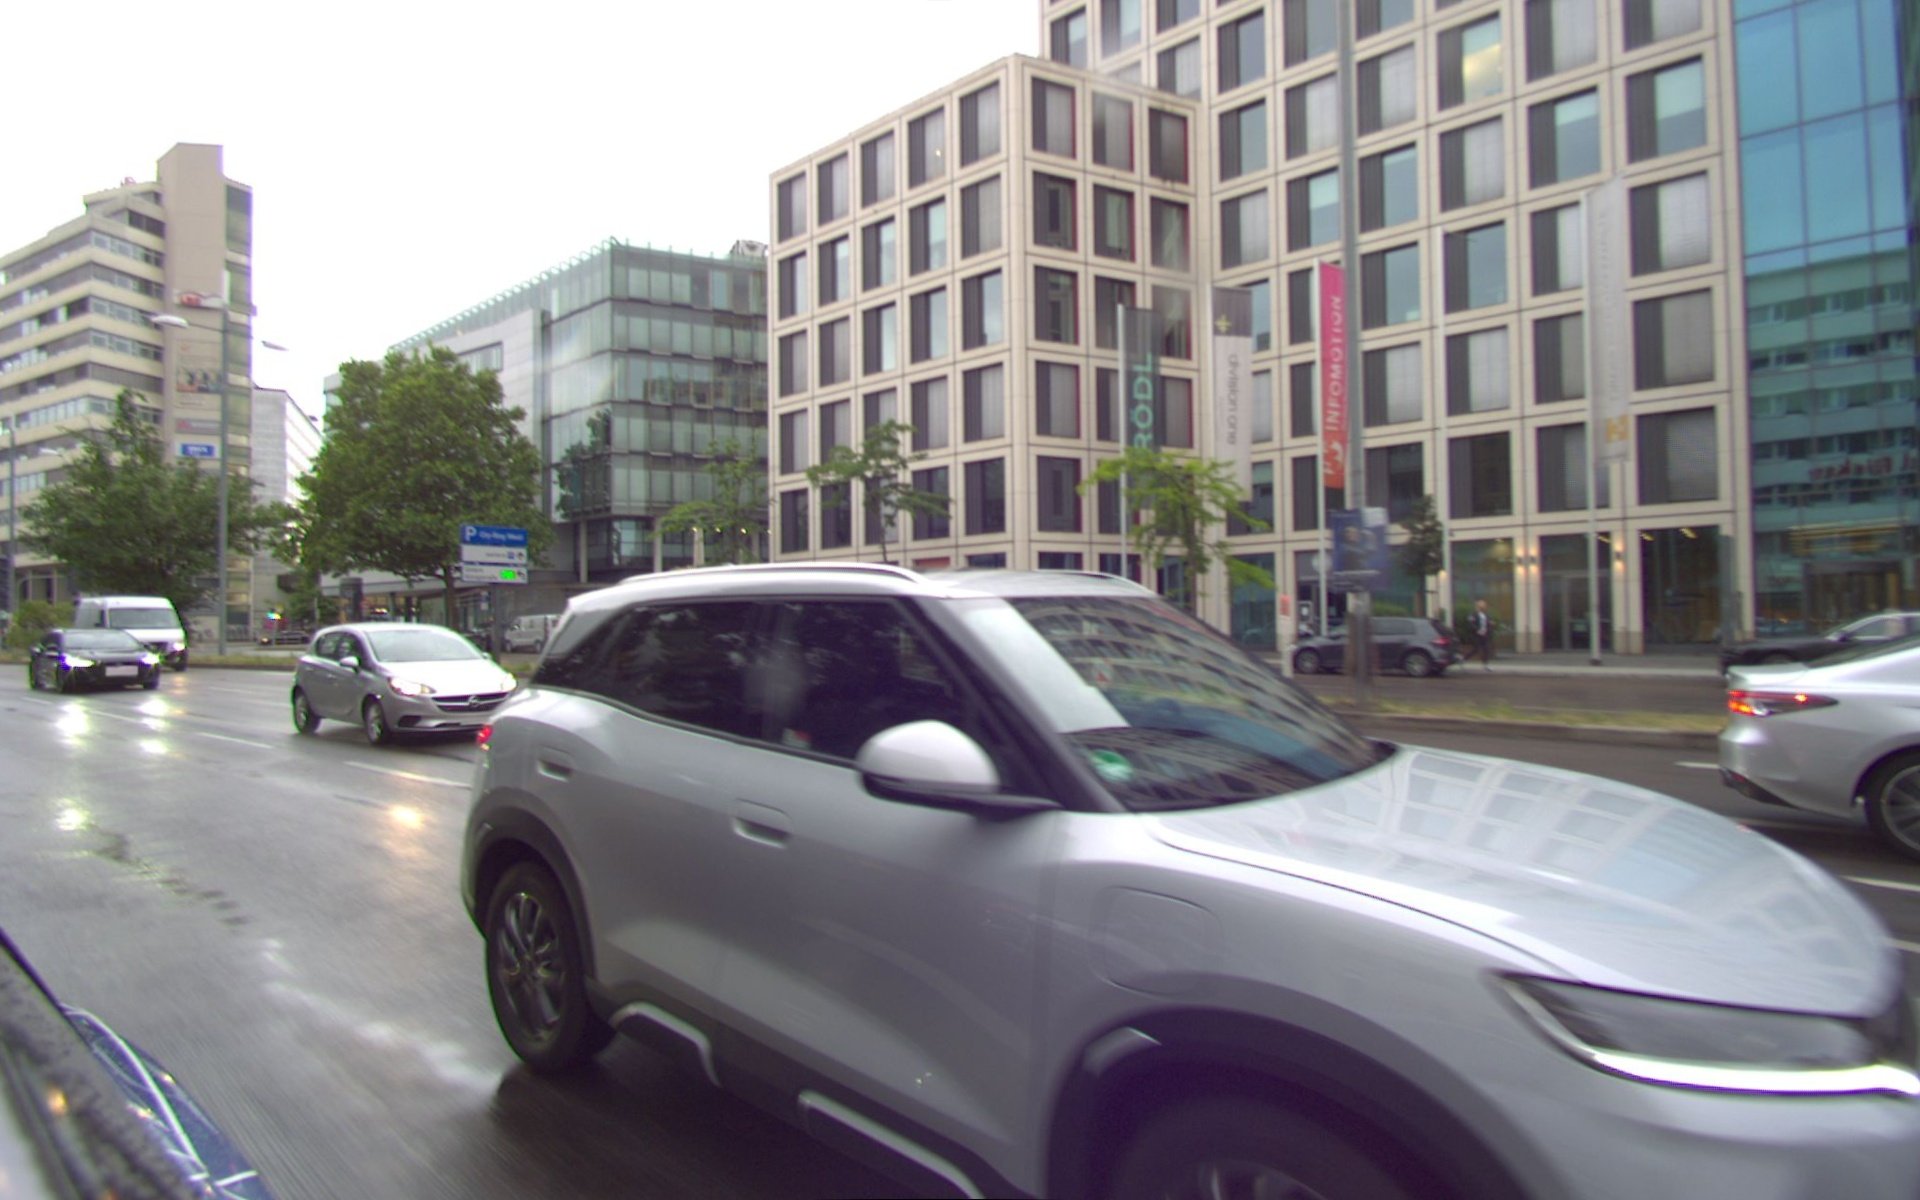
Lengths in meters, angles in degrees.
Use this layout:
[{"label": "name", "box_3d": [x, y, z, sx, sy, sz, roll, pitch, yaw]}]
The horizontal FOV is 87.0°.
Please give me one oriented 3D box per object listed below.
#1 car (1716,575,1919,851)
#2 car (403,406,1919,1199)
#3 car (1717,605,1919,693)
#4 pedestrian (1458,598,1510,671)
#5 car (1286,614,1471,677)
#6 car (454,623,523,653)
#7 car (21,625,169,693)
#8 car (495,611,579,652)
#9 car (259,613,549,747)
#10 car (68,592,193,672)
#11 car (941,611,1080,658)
[{"label": "car", "box_3d": [7.042, 0.607, 5.327, 4.798, 1.533, 1.812, -1, 0, 41]}, {"label": "car", "box_3d": [0.248, 0.639, 2.892, 4.166, 1.673, 1.790, -1, 0, 39]}, {"label": "car", "box_3d": [17.586, 0.921, 19.136, 5.178, 1.581, 1.681, -1, -3, 39]}, {"label": "pedestrian", "box_3d": [12.849, 0.822, 24.824, 0.604, 1.747, 0.969, -1, 0, -38]}, {"label": "car", "box_3d": [10.401, 1.112, 25.281, 3.951, 1.435, 1.681, -1, -3, 39]}, {"label": "car", "box_3d": [-26.341, 2.113, 56.480, 4.281, 1.540, 1.780, -1, 0, 38]}, {"label": "car", "box_3d": [-20.518, 1.325, 23.947, 4.236, 1.412, 1.881, -1, 0, 38]}, {"label": "car", "box_3d": [-22.287, 1.643, 53.277, 4.909, 2.029, 1.974, -1, 0, 38]}, {"label": "car", "box_3d": [-7.412, 0.938, 13.375, 4.118, 1.490, 1.754, -1, 0, 35]}, {"label": "car", "box_3d": [-27.138, 0.984, 33.041, 5.716, 2.403, 2.230, -1, 0, 41]}, {"label": "car", "box_3d": [1.583, 1.122, 32.801, 4.369, 1.435, 1.681, -1, -3, 39]}]
